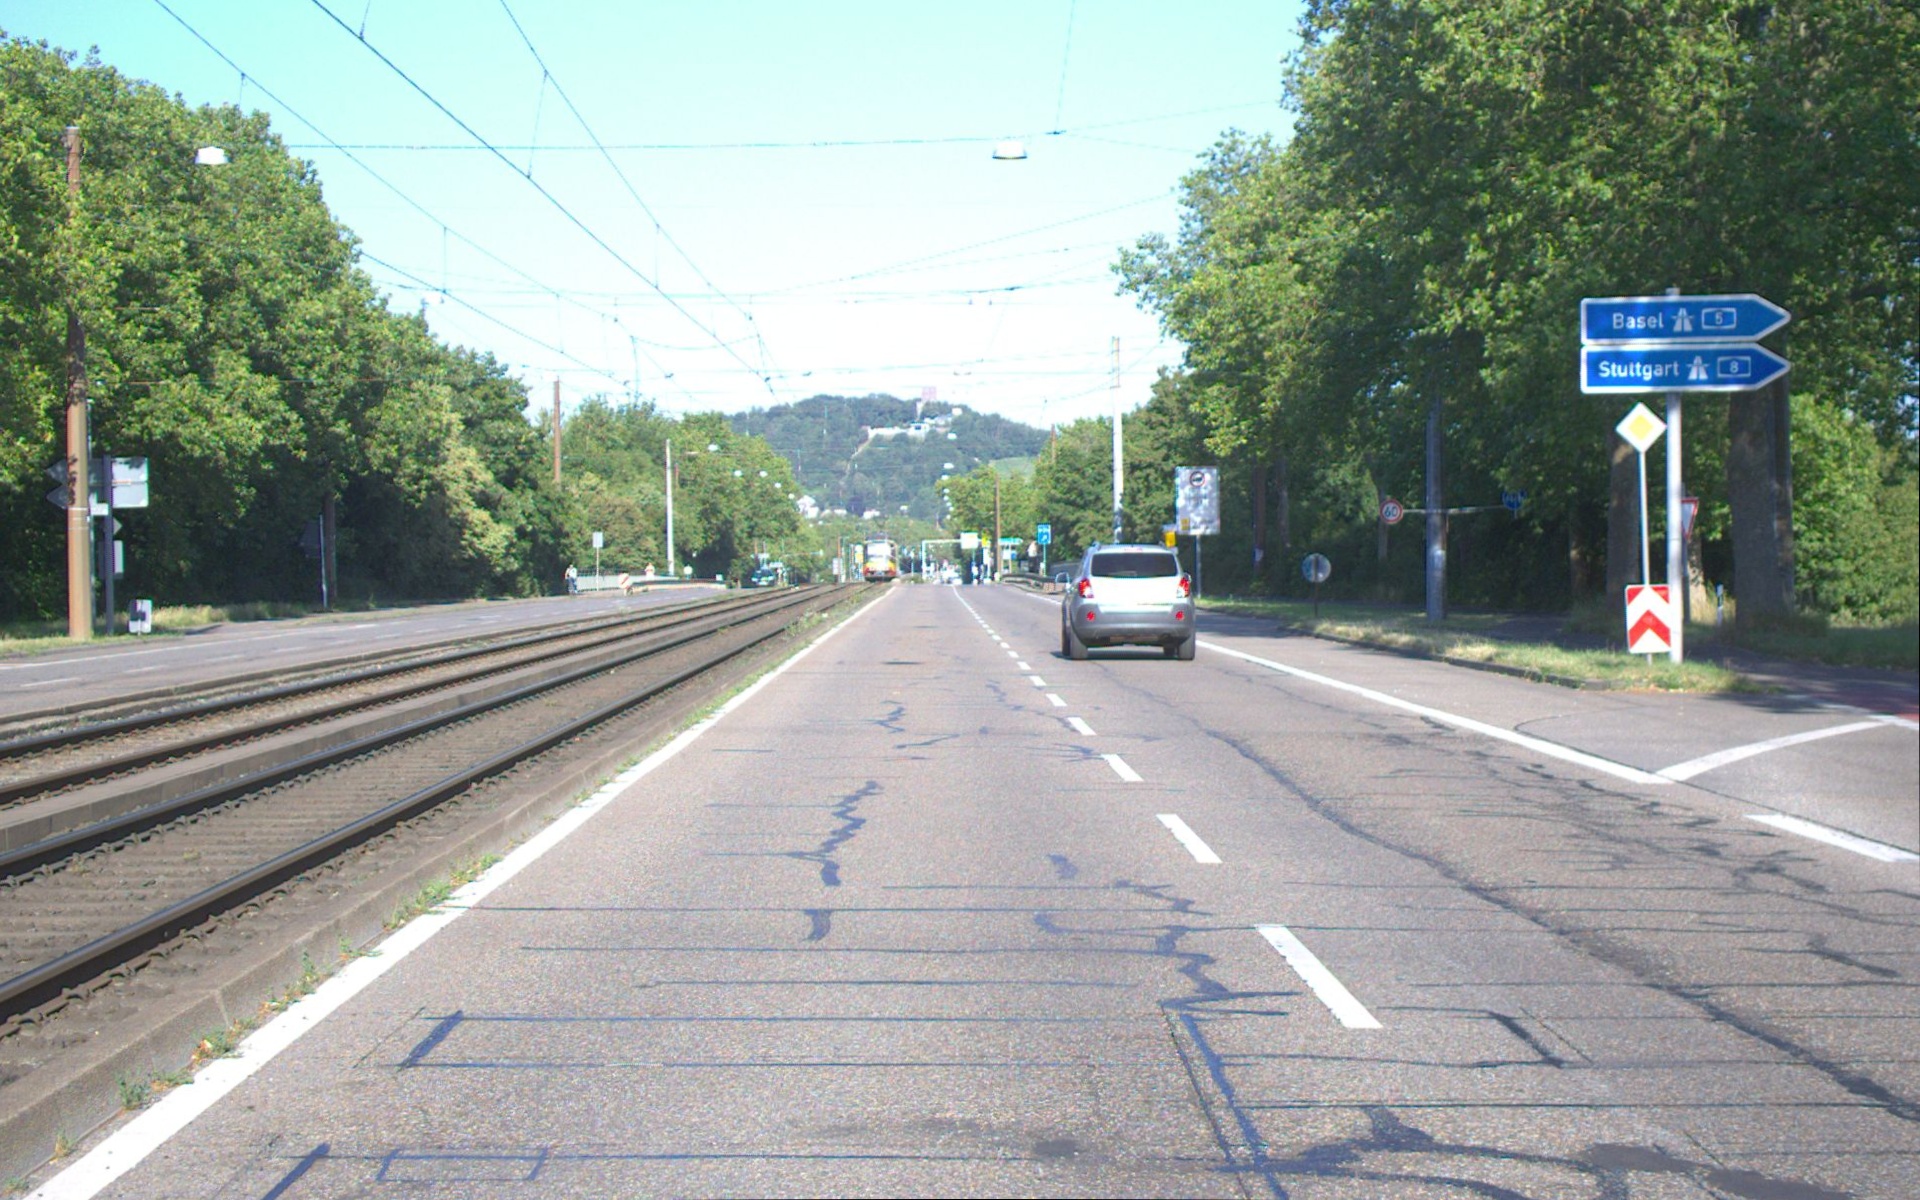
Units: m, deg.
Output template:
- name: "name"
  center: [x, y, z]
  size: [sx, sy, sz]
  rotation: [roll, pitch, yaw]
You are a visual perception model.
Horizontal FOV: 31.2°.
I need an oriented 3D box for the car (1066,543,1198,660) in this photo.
- name: "car"
  center: [2.544, 0.011, 51.520]
  size: [1.888, 1.688, 4.256]
  rotation: [0, 0, 2]
